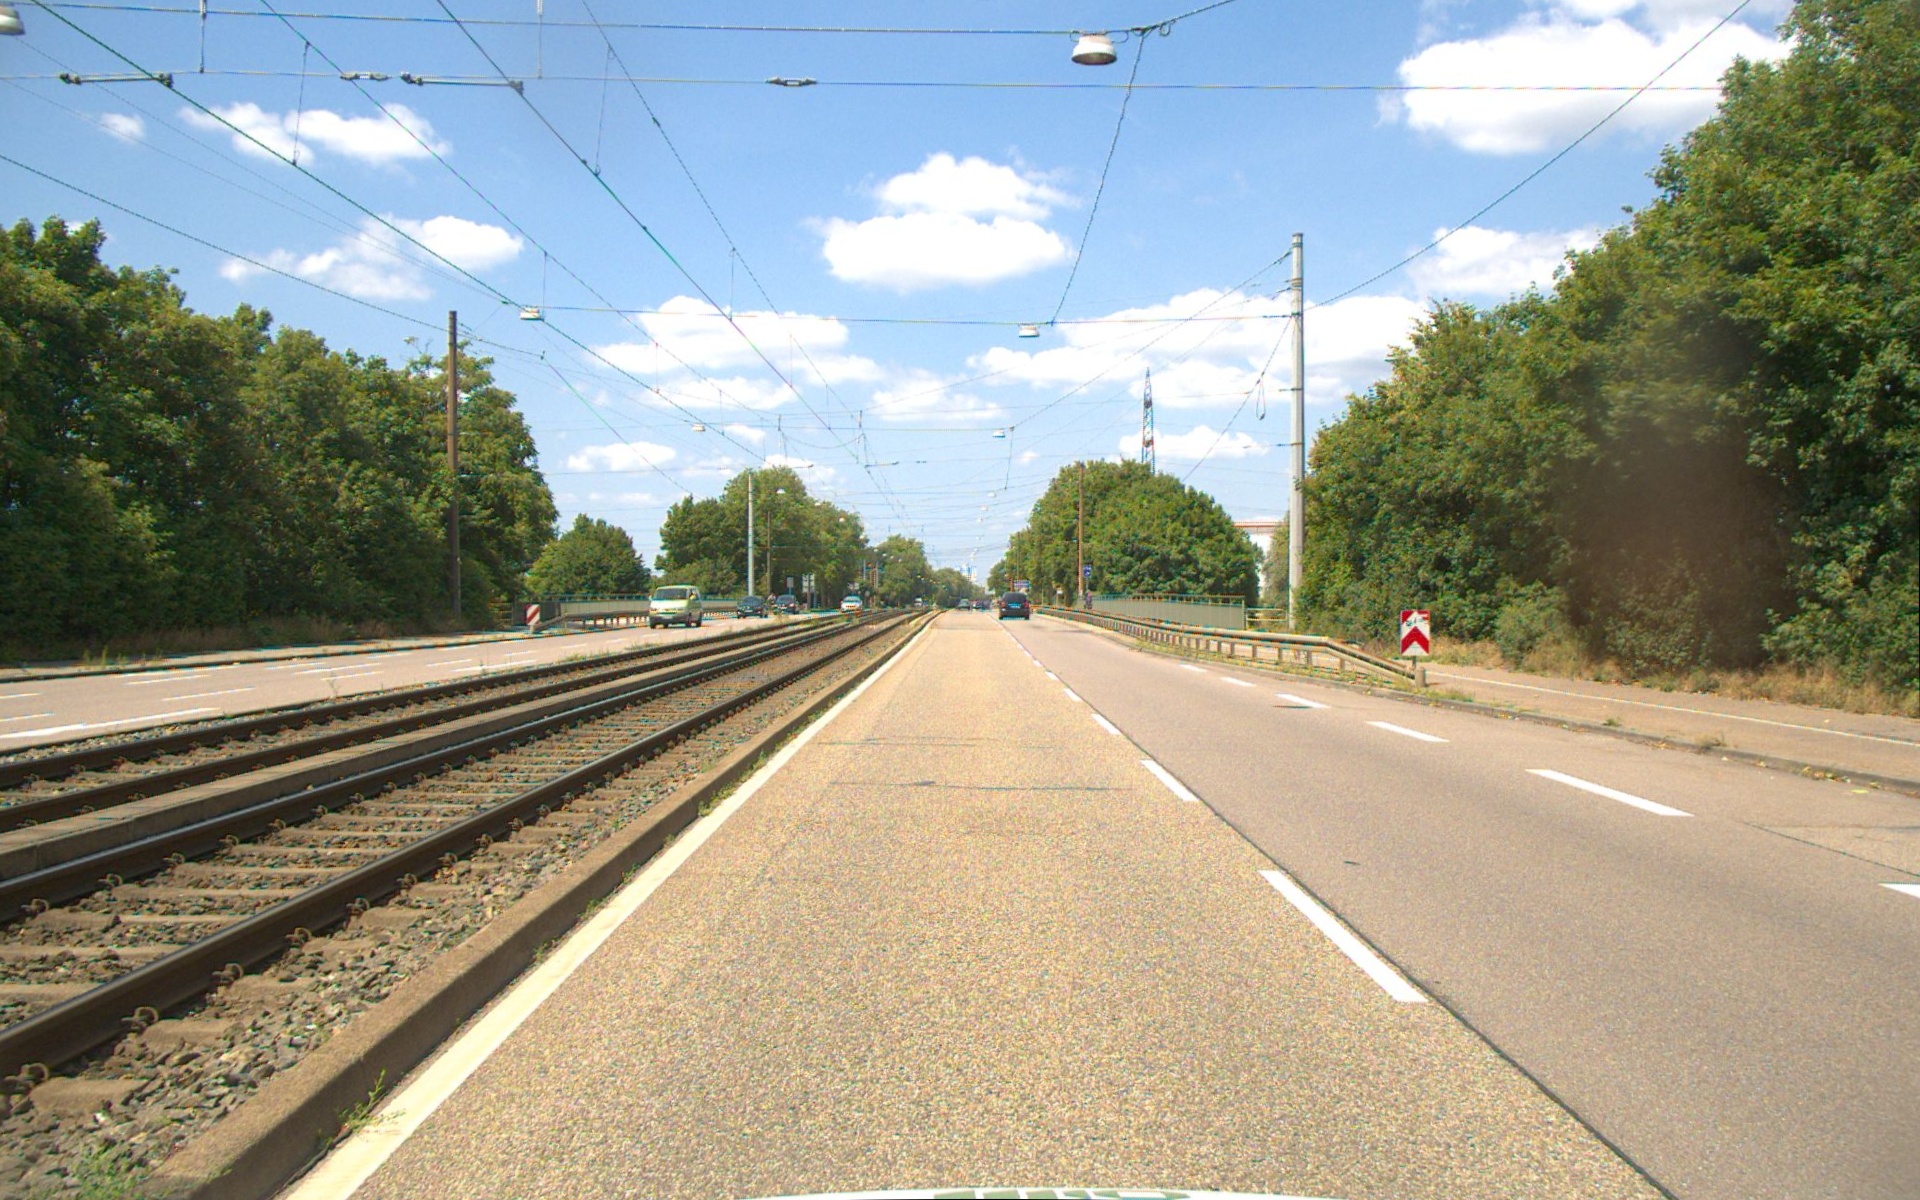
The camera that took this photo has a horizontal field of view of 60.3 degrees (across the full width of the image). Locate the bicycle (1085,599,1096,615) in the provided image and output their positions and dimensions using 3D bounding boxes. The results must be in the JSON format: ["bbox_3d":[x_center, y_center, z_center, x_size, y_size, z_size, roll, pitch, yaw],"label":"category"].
[{"bbox_3d":[8.642,0.492,109.579,0.548,1.042,1.848,0,-1,0],"label":"bicycle"}]

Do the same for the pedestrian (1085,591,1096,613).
[{"bbox_3d":[8.655,0.137,109.557,0.615,1.398,1.050,0,-1,0],"label":"pedestrian"}]

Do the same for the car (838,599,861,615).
[{"bbox_3d":[-9.924,0.616,148.904,1.676,1.445,4.624,-1,0,0],"label":"car"}]

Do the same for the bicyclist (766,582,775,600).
[{"bbox_3d":[-17.314,-0.821,151.209,0.747,1.650,0.838,1,-1,0],"label":"bicyclist"}]

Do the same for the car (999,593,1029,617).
[{"bbox_3d":[3.120,0.279,96.011,1.554,1.366,3.271,0,0,-1],"label":"car"}]

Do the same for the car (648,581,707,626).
[{"bbox_3d":[-12.909,0.159,75.921,1.774,1.959,5.179,-1,0,0],"label":"car"}]

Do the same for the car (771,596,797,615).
[{"bbox_3d":[-13.314,0.414,125.432,1.542,1.424,3.938,0,0,0],"label":"car"}]

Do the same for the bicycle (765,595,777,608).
[{"bbox_3d":[-17.274,0.153,151.211,0.839,1.206,2.062,1,0,0],"label":"bicycle"}]

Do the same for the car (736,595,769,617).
[{"bbox_3d":[-13.294,0.403,106.067,1.531,1.371,3.929,-1,0,0],"label":"car"}]
